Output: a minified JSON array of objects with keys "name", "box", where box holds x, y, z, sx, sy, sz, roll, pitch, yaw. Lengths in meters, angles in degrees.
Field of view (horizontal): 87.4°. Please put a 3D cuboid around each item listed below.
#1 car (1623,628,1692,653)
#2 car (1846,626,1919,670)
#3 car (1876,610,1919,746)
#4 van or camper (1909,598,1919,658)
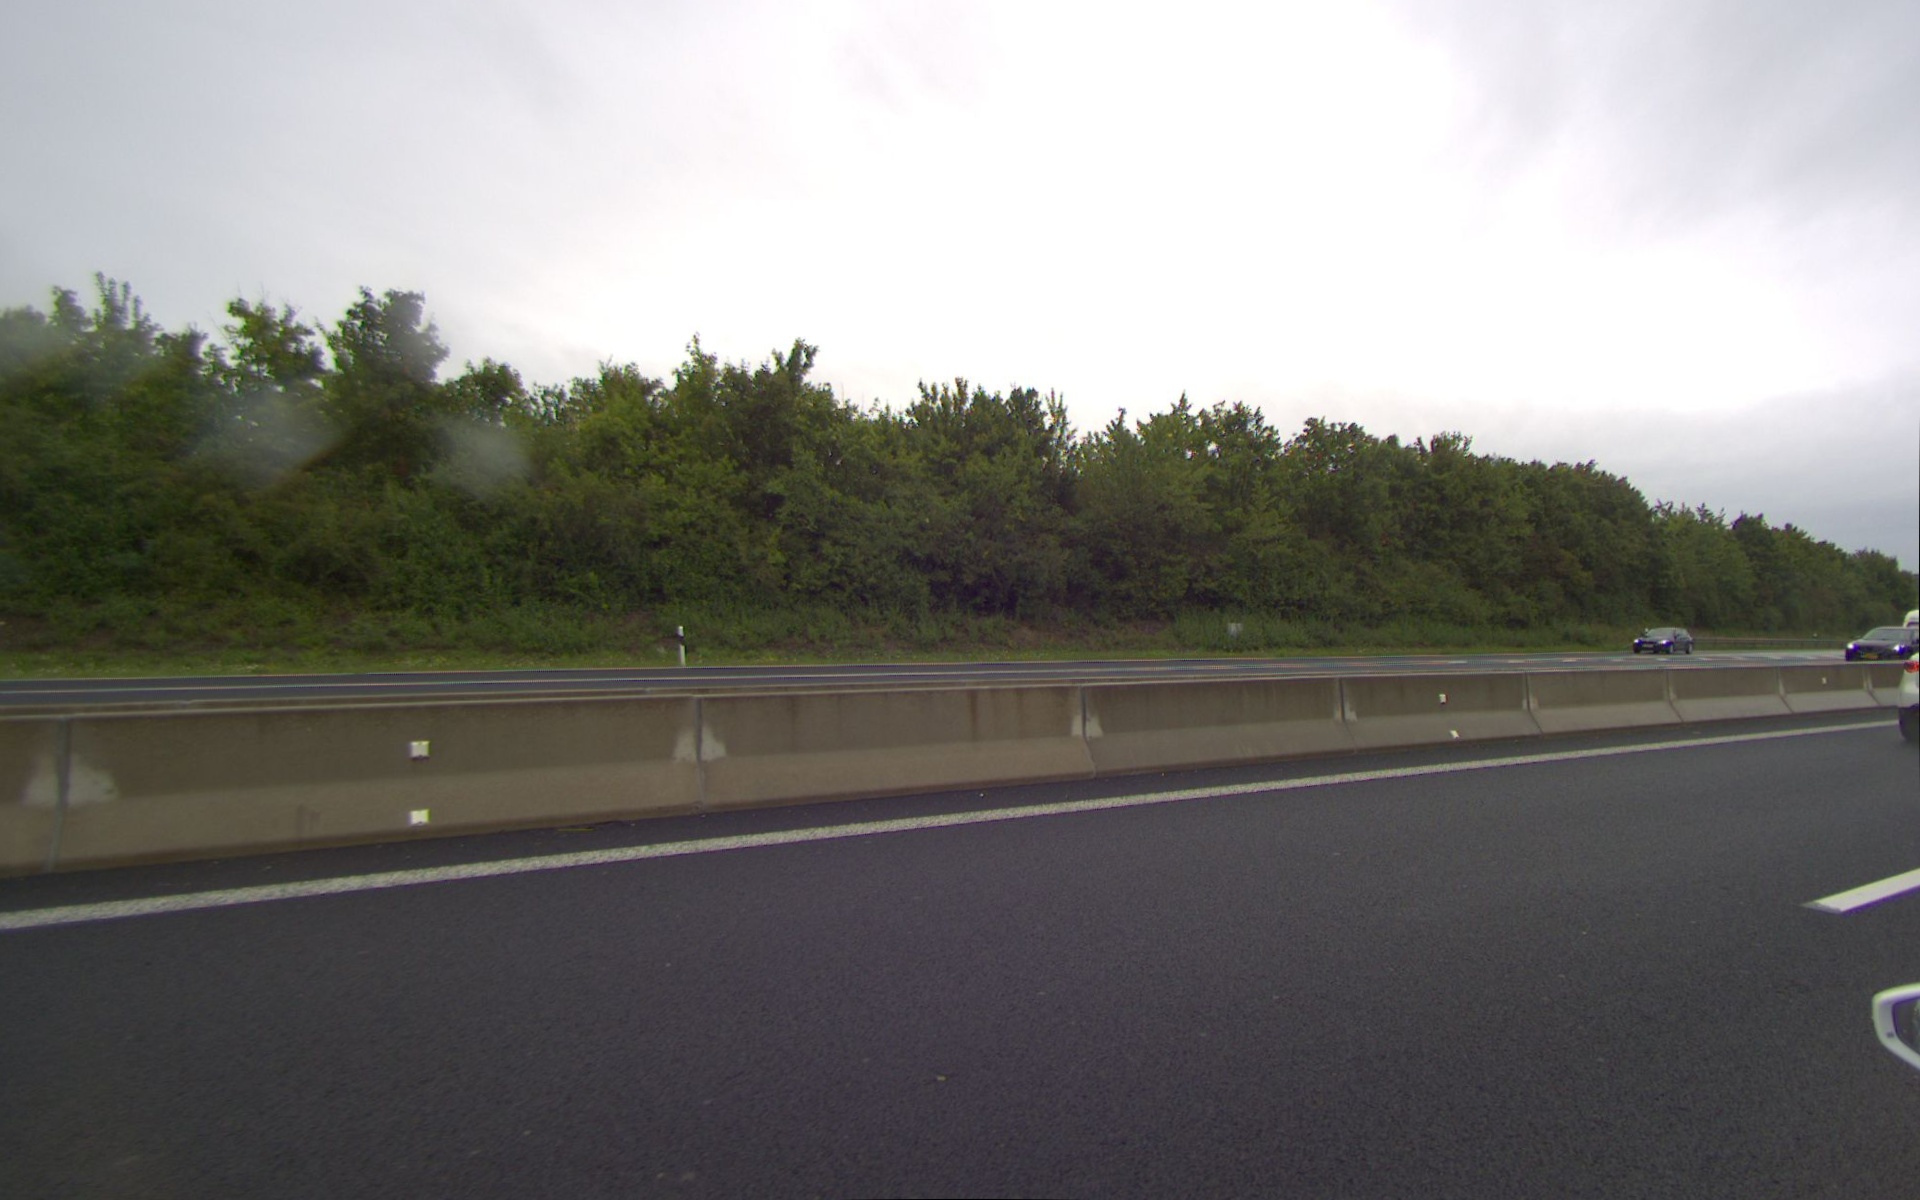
[{"name":"car","box":[38.388,2.216,55.264,3.877,1.311,1.680,1,-1,-30]},{"name":"car","box":[36.789,1.855,39.603,4.337,1.642,1.520,1,-1,-31]},{"name":"car","box":[13.948,1.010,12.951,4.448,1.661,1.966,2,-1,-31]},{"name":"van or camper","box":[42.857,1.225,42.836,5.477,2.502,1.788,1,-1,-27]}]
